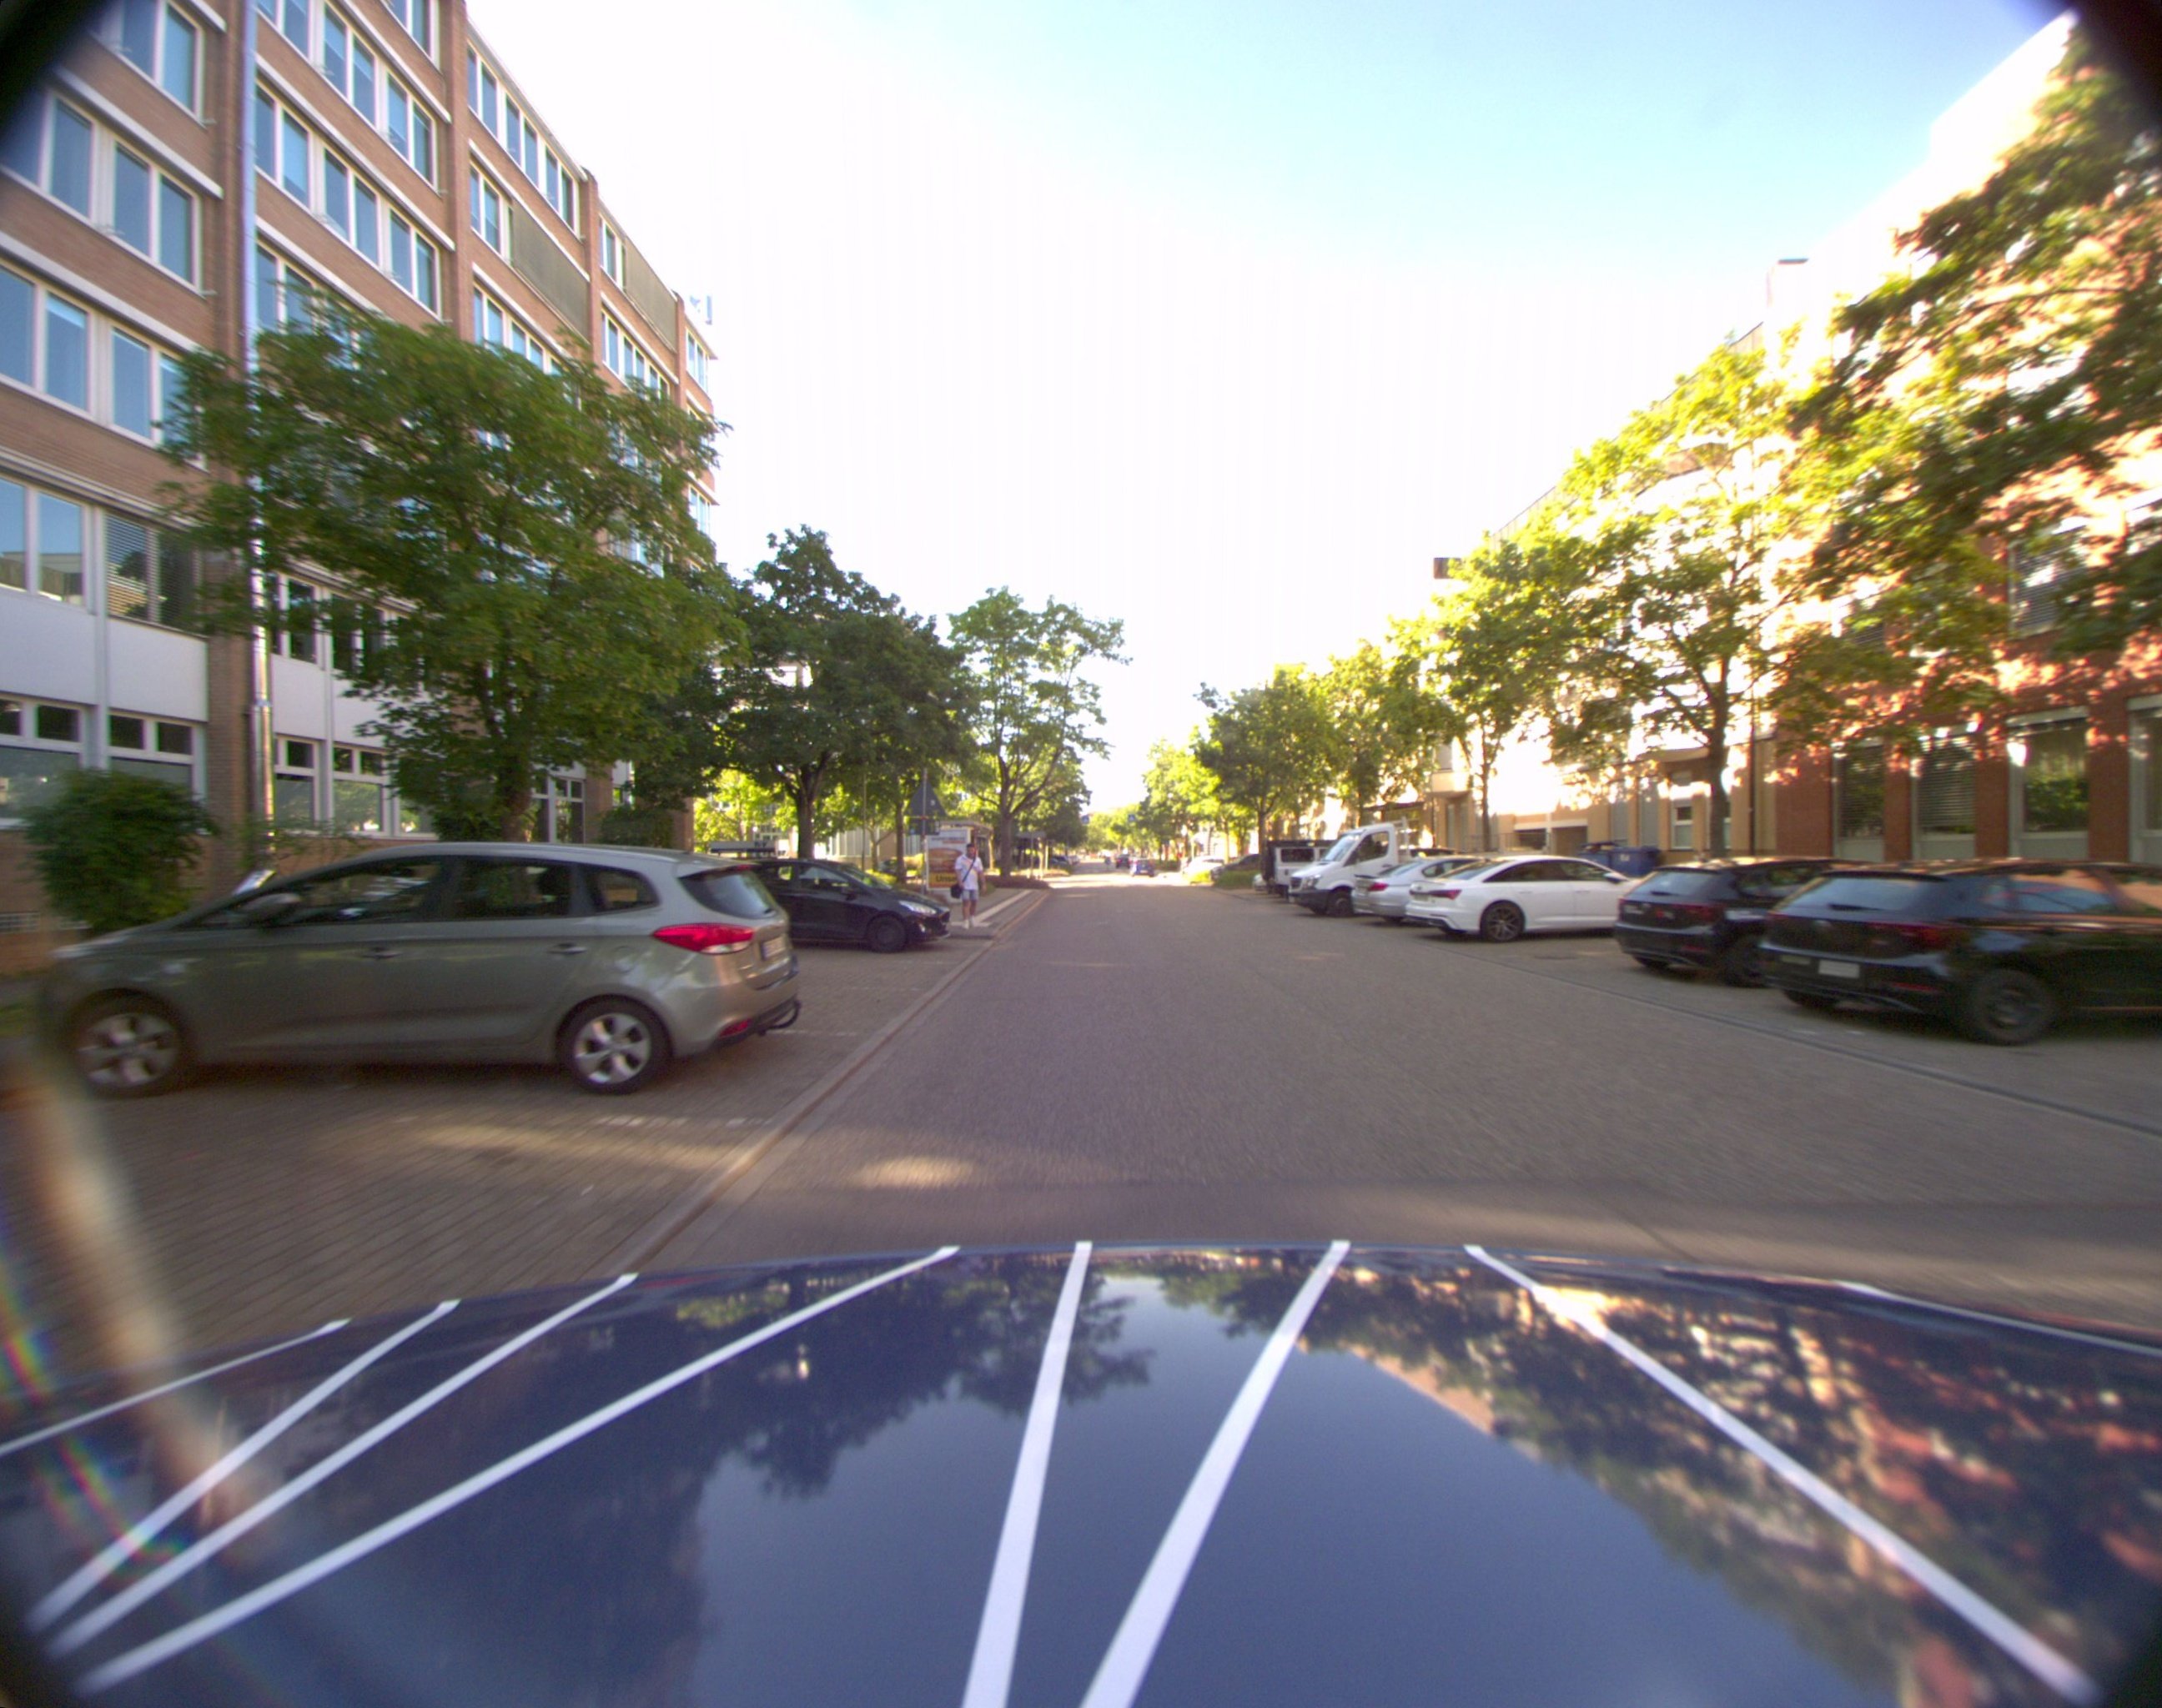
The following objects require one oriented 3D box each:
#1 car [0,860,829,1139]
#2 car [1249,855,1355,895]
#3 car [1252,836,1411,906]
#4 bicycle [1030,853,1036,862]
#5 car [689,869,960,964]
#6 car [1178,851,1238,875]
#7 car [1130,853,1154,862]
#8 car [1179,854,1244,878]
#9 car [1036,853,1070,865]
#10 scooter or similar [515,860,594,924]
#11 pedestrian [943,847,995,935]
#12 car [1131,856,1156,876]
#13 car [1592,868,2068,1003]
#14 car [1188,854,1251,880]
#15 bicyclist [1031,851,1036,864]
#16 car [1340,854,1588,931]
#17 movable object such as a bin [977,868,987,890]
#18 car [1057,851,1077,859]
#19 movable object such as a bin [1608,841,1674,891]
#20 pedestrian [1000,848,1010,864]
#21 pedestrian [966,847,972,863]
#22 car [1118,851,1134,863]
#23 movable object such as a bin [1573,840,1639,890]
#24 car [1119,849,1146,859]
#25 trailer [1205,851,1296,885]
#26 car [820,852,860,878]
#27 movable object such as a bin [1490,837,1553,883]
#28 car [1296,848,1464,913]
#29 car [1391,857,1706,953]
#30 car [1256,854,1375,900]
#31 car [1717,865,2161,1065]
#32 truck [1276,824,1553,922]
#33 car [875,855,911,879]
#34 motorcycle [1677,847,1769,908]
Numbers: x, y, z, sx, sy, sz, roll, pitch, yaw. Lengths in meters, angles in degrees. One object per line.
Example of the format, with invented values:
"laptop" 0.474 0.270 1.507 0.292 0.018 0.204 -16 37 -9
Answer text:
"car" -4.303 0.846 5.514 4.365 1.588 1.938 0 0 -6
"car" 8.926 0.838 30.928 3.843 1.452 1.733 -2 0 4
"car" 8.172 0.535 25.077 4.493 2.040 1.999 -2 1 -1
"bicycle" -6.018 0.428 96.014 0.535 1.072 1.920 -1 0 2
"car" -4.127 0.992 12.727 3.945 1.431 1.774 0 0 -1
"car" 9.159 0.635 54.993 3.997 1.561 1.728 -3 0 0
"car" 10.366 0.534 129.908 4.003 1.411 1.618 -2 1 0
"car" 8.978 0.816 52.468 4.162 1.394 1.801 -3 0 0
"car" -3.387 0.635 91.752 4.127 1.362 1.654 1 1 -3
"scooter or similar" -11.708 0.816 16.972 0.550 1.318 1.805 -2 1 -4
"pedestrian" -2.257 0.734 15.230 0.921 1.701 0.697 3 0 -13
"car" 4.743 0.908 58.103 1.648 1.412 4.000 0 0 0
"car" 8.723 0.906 9.130 3.997 1.426 1.722 0 0 1
"car" 8.980 0.833 49.564 3.764 1.444 1.754 -3 0 0
"bicyclist" -6.025 0.396 96.030 0.538 1.627 0.822 -1 1 1
"car" 8.303 0.799 16.781 4.438 1.478 2.000 -2 0 -1
"movable object such as a bin" -3.564 0.898 27.398 0.299 0.749 0.467 2 1 1
"car" -2.794 0.215 154.441 3.998 1.471 1.804 0 1 -2
"movable object such as a bin" 18.023 0.383 24.485 1.149 1.553 1.243 -1 0 -12
"pedestrian" -8.803 0.188 88.041 1.037 1.788 1.018 -2 1 0
"pedestrian" -10.612 0.094 72.176 0.539 1.573 0.648 -1 0 -9
"car" 5.664 0.374 96.047 1.784 1.503 4.000 -1 0 1
"movable object such as a bin" 17.777 0.357 25.777 1.149 1.610 1.440 -1 0 -12
"car" 10.314 0.020 152.428 5.317 1.875 2.000 0 1 2
"trailer" 8.876 0.713 40.030 4.272 1.563 1.855 -2 0 -3
"car" -14.538 0.664 45.978 1.657 1.454 3.915 -1 0 -8
"movable object such as a bin" 17.742 0.221 30.682 1.603 1.786 1.664 -1 0 2
"car" 8.702 0.737 22.384 4.117 1.652 2.000 -2 1 1
"car" 8.315 0.874 13.824 4.553 1.433 1.890 -2 0 -1
"car" 8.500 0.808 27.825 3.787 1.484 1.833 -2 0 2
"car" 8.302 0.860 6.571 3.995 1.427 1.790 -1 1 4
"truck" 8.483 0.460 19.788 6.247 2.408 2.187 0 0 1
"car" -14.351 0.958 58.235 1.742 1.557 4.363 -1 2 -2
"motorcycle" 17.419 0.608 20.695 0.716 1.582 2.109 0 0 -1
